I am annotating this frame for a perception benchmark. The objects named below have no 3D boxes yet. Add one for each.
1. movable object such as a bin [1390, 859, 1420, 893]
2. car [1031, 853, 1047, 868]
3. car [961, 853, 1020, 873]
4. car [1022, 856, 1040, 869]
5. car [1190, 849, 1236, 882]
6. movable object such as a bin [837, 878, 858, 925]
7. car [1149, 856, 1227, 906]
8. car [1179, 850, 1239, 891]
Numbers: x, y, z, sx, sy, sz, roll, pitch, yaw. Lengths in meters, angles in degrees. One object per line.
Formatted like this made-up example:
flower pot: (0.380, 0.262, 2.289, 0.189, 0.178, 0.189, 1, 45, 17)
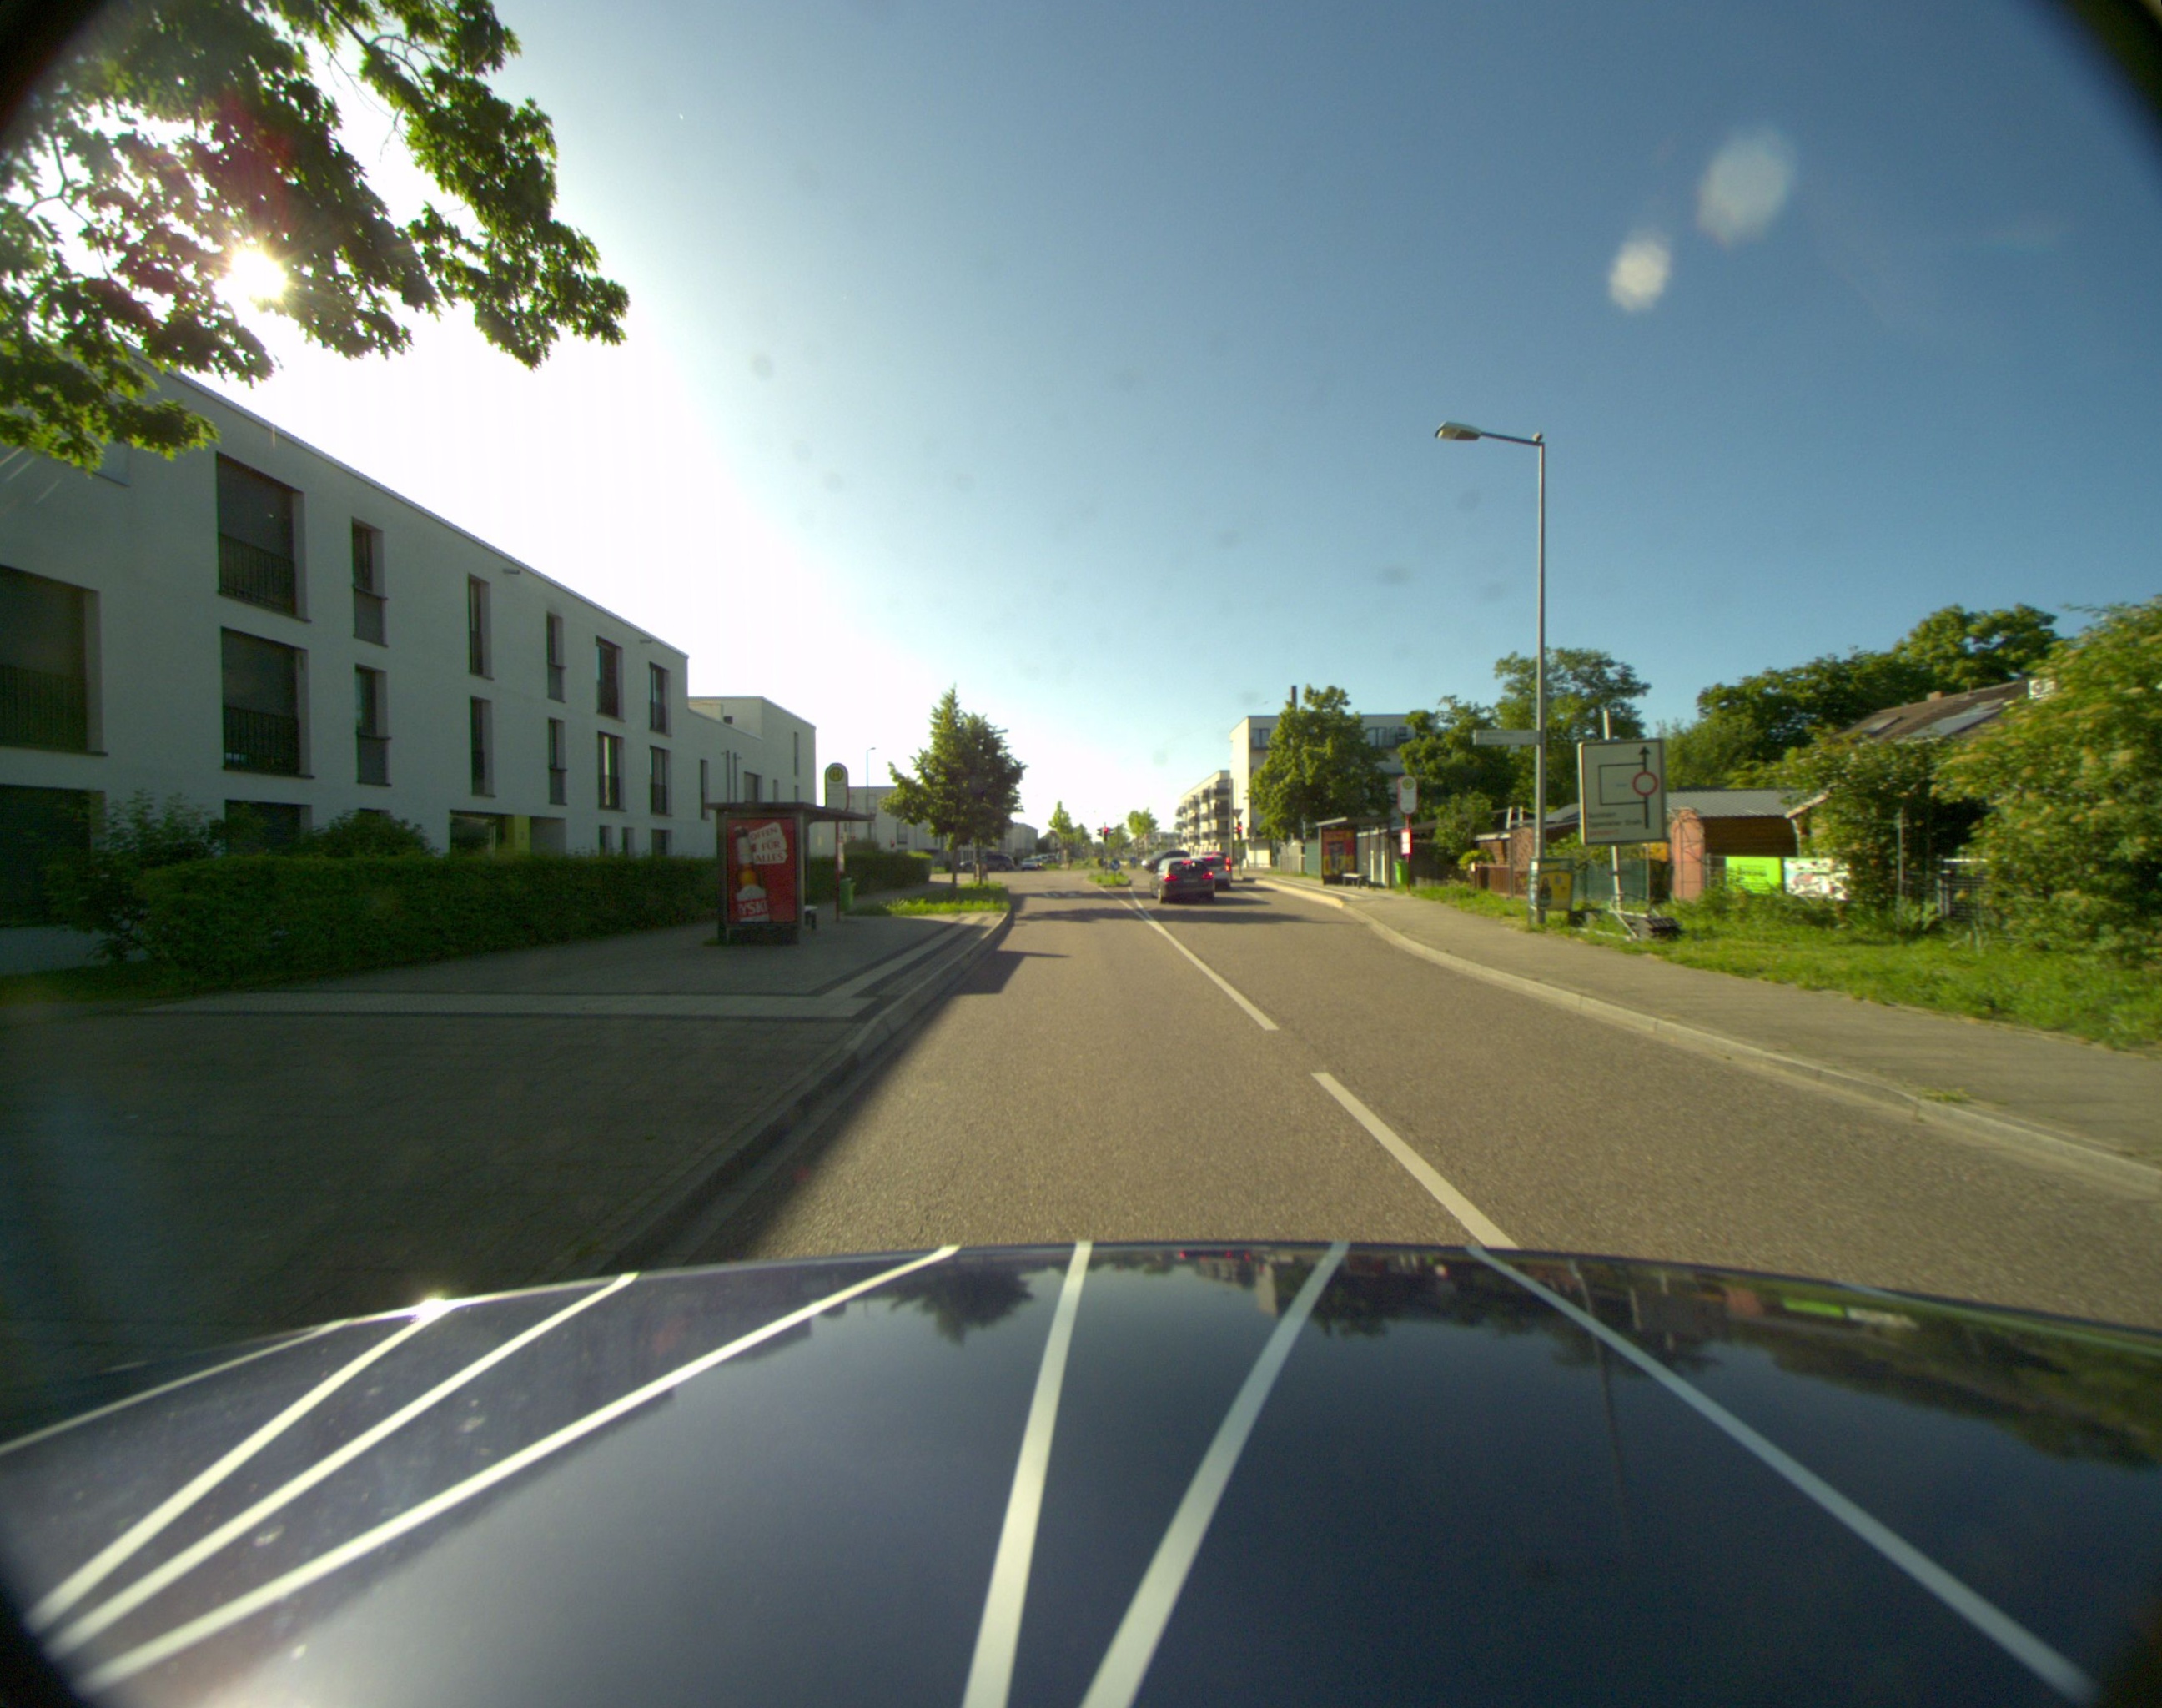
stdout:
movable object such as a bin: (9.783, 0.660, 22.946, 0.594, 0.962, 0.558, -5, 0, 4)
car: (-5.659, 0.845, 103.414, 1.999, 2.002, 3.999, -1, 0, -1)
car: (-8.285, 0.782, 70.010, 5.194, 1.727, 2.000, -1, 0, 1)
car: (-6.340, 1.047, 95.929, 2.008, 1.655, 3.999, -1, 0, -1)
car: (6.839, 0.562, 39.711, 1.944, 1.579, 4.181, -1, 0, 4)
movable object such as a bin: (-5.268, 1.071, 17.187, 0.370, 1.010, 0.599, -1, 0, -10)
car: (3.547, 0.857, 26.066, 1.998, 1.435, 4.450, -2, 0, 0)
car: (5.400, 0.652, 32.560, 2.214, 1.582, 4.535, -1, 1, 6)
